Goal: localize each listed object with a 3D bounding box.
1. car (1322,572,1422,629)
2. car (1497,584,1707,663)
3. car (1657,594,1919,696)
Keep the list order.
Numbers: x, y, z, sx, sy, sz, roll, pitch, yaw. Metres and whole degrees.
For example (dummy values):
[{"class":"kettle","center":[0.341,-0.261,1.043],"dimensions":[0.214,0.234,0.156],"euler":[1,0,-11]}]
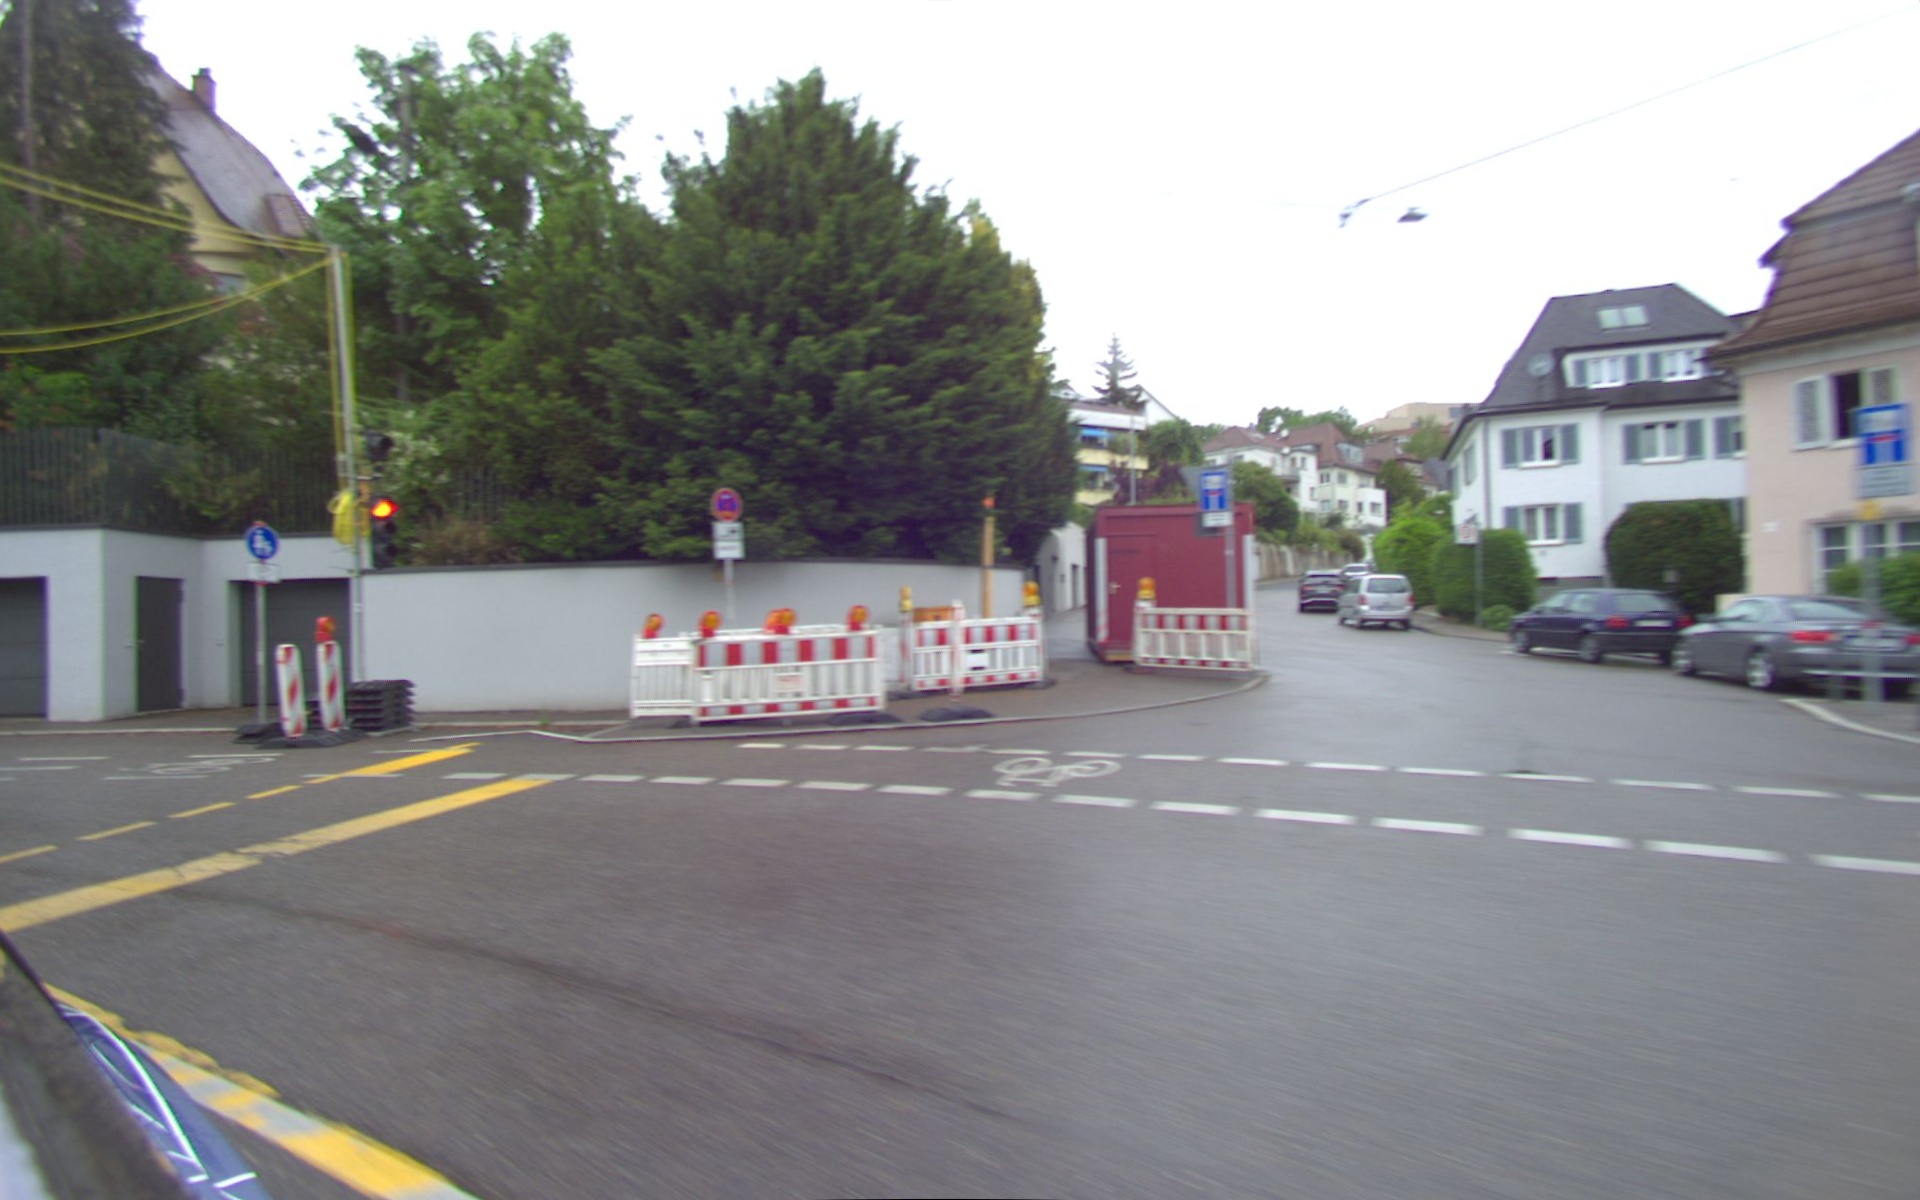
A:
[{"class":"car","center":[13.046,-0.032,32.286],"dimensions":[1.851,1.674,3.994],"euler":[0,2,5]},{"class":"car","center":[12.792,0.429,20.505],"dimensions":[1.653,1.413,4.201],"euler":[-1,0,2]},{"class":"car","center":[12.131,0.570,14.811],"dimensions":[1.658,1.276,4.188],"euler":[-1,0,12]}]
